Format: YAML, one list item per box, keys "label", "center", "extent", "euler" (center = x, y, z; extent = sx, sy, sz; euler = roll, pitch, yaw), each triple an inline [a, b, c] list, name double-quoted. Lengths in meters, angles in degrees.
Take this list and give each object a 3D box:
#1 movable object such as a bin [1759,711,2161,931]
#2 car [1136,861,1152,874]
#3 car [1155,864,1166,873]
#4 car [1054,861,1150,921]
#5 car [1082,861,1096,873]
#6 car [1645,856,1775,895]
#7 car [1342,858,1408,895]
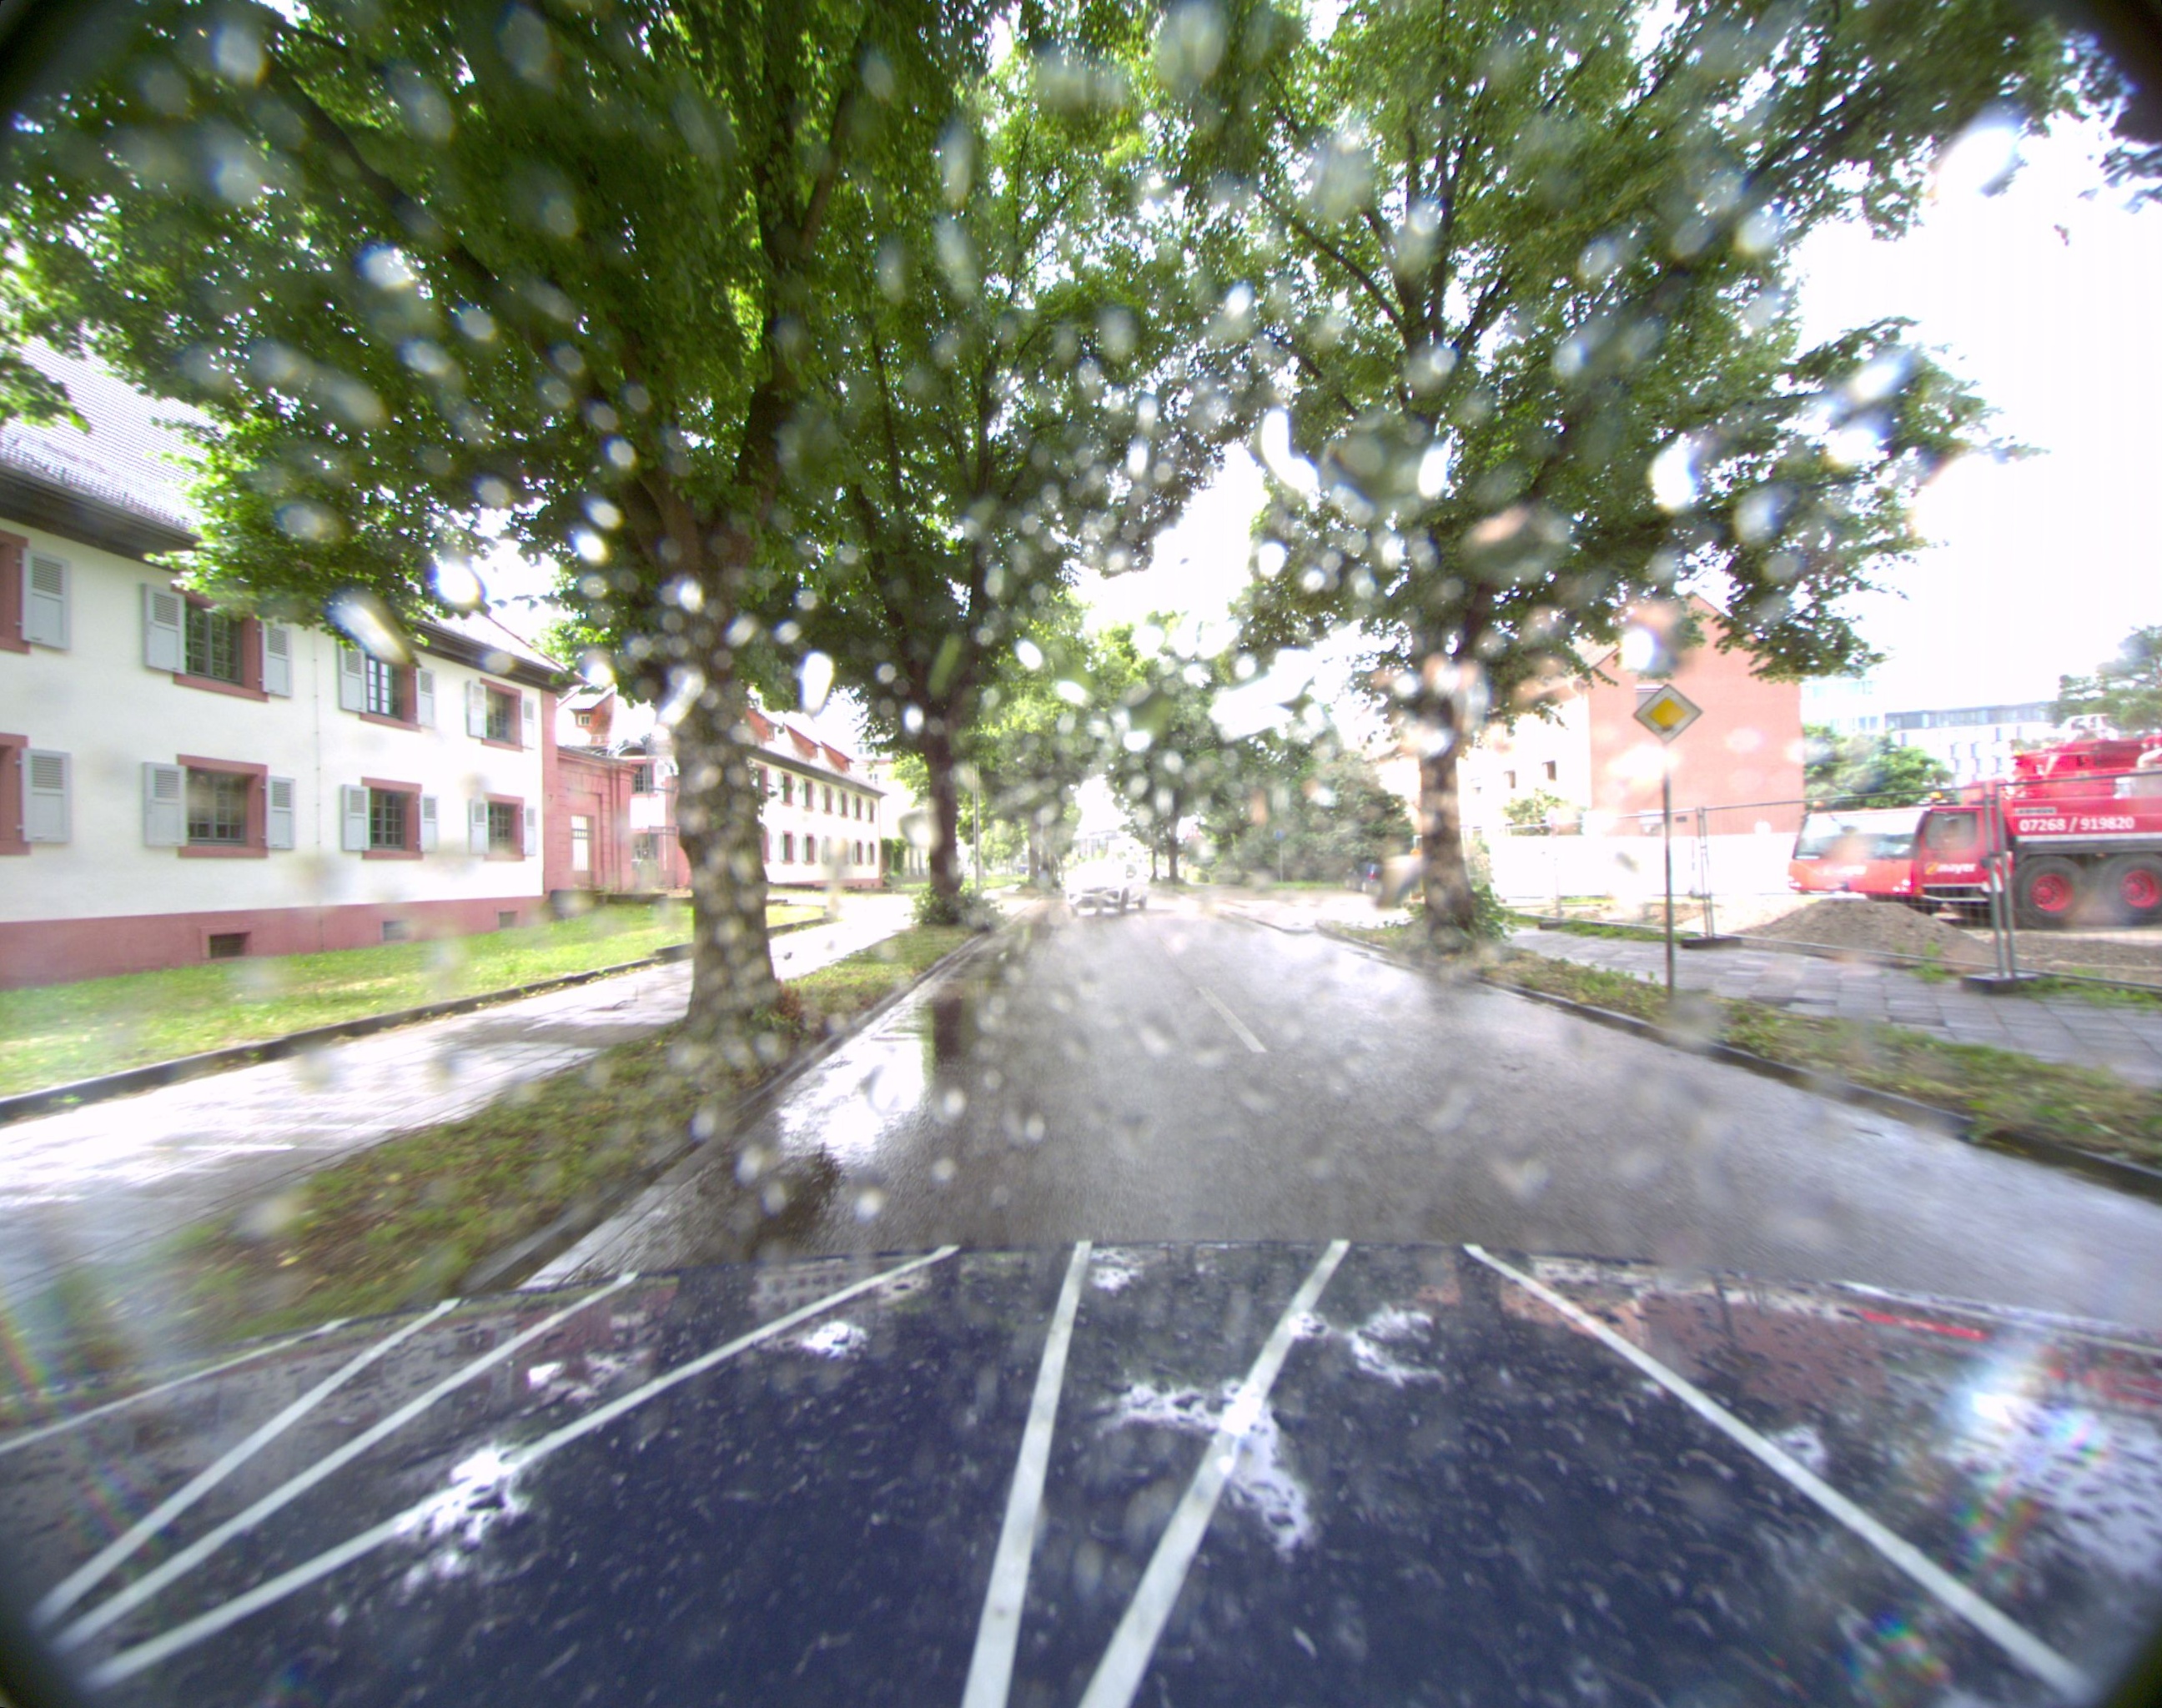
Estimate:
- label: "movable object such as a bin"
  center: [21.073, -0.676, 16.202]
  extent: [9.834, 4.090, 3.367]
  euler: [-2, -1, 3]
- label: "car"
  center: [8.688, 1.879, 104.673]
  extent: [1.891, 1.703, 4.230]
  euler: [-1, -1, 1]
- label: "car"
  center: [14.172, 2.562, 135.635]
  extent: [1.683, 1.499, 3.795]
  euler: [-1, -1, 4]
- label: "car"
  center: [0.677, 0.988, 21.614]
  extent: [1.734, 1.524, 3.622]
  euler: [-1, 0, 18]
- label: "car"
  center: [1.196, 1.931, 110.825]
  extent: [1.891, 1.703, 4.230]
  euler: [-1, -1, 1]
- label: "car"
  center: [24.762, 0.834, 29.964]
  extent: [4.067, 1.404, 1.727]
  euler: [-1, 0, -10]
- label: "car"
  center: [13.409, 0.982, 34.874]
  extent: [1.628, 1.412, 3.870]
  euler: [-2, 1, 2]
